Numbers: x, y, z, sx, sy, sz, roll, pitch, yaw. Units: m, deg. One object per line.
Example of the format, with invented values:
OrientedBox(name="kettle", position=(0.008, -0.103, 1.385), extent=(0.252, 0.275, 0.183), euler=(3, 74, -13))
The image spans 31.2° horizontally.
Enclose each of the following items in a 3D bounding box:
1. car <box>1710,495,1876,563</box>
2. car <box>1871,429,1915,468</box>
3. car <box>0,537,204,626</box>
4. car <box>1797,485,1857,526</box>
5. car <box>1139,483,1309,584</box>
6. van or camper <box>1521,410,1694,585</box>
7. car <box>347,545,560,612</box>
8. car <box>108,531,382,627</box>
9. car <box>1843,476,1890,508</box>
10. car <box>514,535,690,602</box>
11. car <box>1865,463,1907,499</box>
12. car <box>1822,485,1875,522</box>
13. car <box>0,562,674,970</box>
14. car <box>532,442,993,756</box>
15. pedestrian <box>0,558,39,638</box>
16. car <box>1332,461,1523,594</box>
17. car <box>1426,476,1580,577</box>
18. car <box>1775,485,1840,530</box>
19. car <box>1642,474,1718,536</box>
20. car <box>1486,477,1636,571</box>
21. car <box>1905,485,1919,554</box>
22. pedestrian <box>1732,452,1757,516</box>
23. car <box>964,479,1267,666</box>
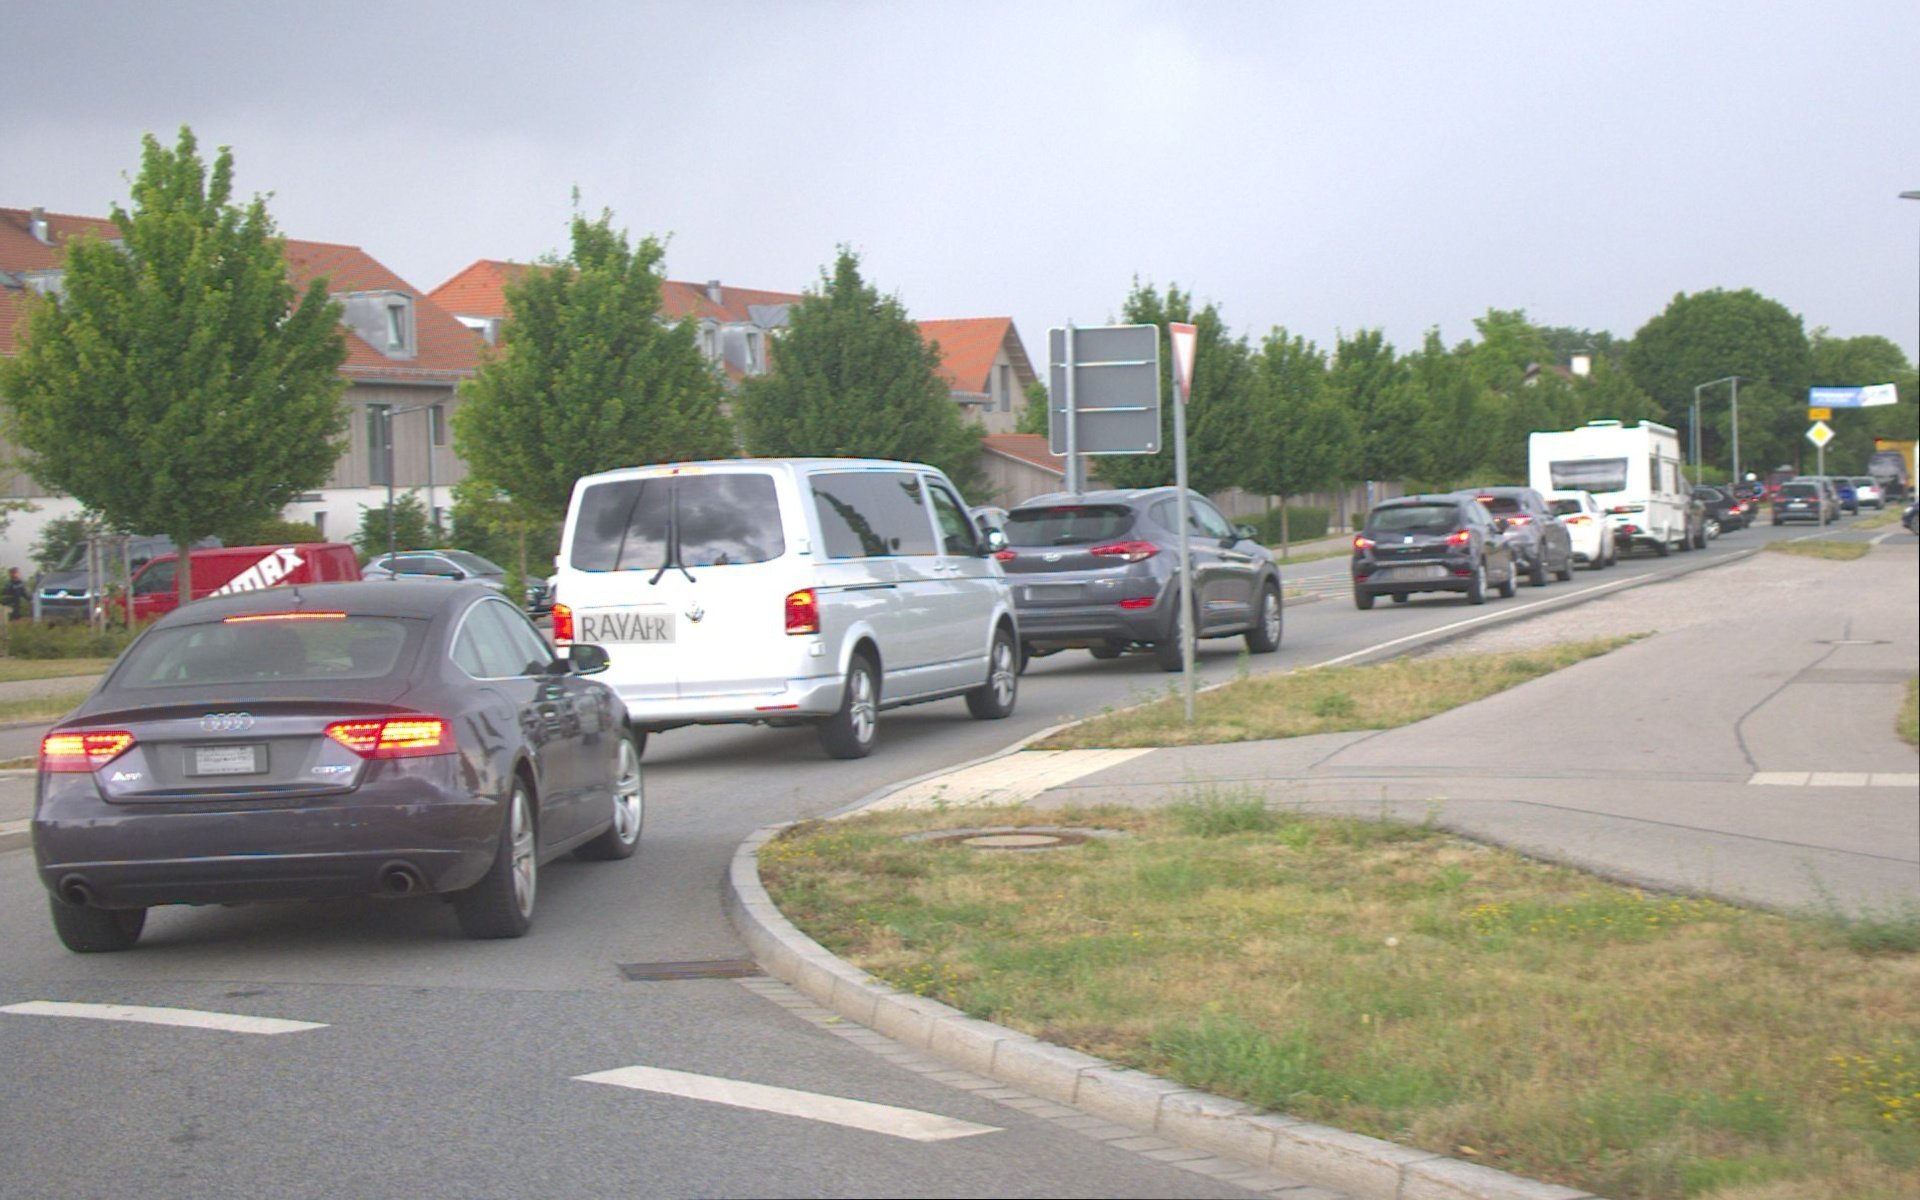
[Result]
OrientedBox(name="car", position=(21.472, -1.835, 88.597), extent=(3.990, 1.612, 1.998), euler=(2, 2, 18))
OrientedBox(name="car", position=(54.986, -8.912, 202.616), extent=(1.996, 2.204, 3.996), euler=(0, 2, 22))
OrientedBox(name="car", position=(-18.117, -0.407, 72.566), extent=(1.996, 1.766, 4.460), euler=(-1, 1, 23))
OrientedBox(name="car", position=(30.867, -3.380, 122.353), extent=(1.846, 1.431, 3.997), euler=(0, 2, 17))
OrientedBox(name="car", position=(4.028, -1.012, 51.910), extent=(1.778, 1.429, 3.799), euler=(-1, 1, 16))
OrientedBox(name="van or camper", position=(13.084, -2.015, 69.065), extent=(2.627, 3.312, 6.816), euler=(0, 1, 17))
OrientedBox(name="car", position=(-10.478, -0.450, 71.199), extent=(3.917, 1.310, 1.841), euler=(-1, 1, 16))
OrientedBox(name="car", position=(-13.112, -0.380, 63.083), extent=(4.535, 1.674, 1.998), euler=(-1, 1, 21))
OrientedBox(name="car", position=(40.737, -4.841, 154.484), extent=(1.846, 1.431, 3.997), euler=(0, 2, 17))
OrientedBox(name="car", position=(-8.400, -0.745, 80.673), extent=(3.732, 1.477, 1.685), euler=(0, 2, 15))
OrientedBox(name="car", position=(47.437, -6.084, 176.003), extent=(1.995, 1.831, 3.997), euler=(0, 2, 16))
OrientedBox(name="car", position=(35.084, -3.825, 135.745), extent=(1.846, 1.431, 3.997), euler=(0, 2, 17))
OrientedBox(name="car", position=(-2.433, 0.576, 14.353), extent=(1.784, 1.387, 4.132), euler=(-1, 1, 5))
OrientedBox(name="car", position=(-1.221, -0.045, 23.223), extent=(1.868, 1.927, 3.997), euler=(-1, 1, 16))
OrientedBox(name="pedestrian", position=(-18.689, -0.046, 68.034), extent=(0.658, 1.553, 0.583), euler=(0, 2, 22))
OrientedBox(name="car", position=(6.155, -0.952, 44.925), extent=(1.778, 1.612, 3.997), euler=(-1, 1, 18))
OrientedBox(name="car", position=(8.255, -1.120, 52.046), extent=(1.778, 1.429, 3.799), euler=(-1, 1, 16))
OrientedBox(name="car", position=(27.739, -3.038, 112.485), extent=(1.846, 1.431, 3.997), euler=(0, 2, 17))
OrientedBox(name="car", position=(23.807, -3.132, 113.612), extent=(1.995, 2.006, 3.996), euler=(0, 2, 19))
OrientedBox(name="car", position=(10.669, -1.340, 60.841), extent=(1.995, 1.590, 3.996), euler=(0, 1, 19))
OrientedBox(name="car", position=(26.749, -2.128, 89.167), extent=(3.996, 1.787, 1.615), euler=(0, 1, 39))
OrientedBox(name="pedestrian", position=(24.570, -3.633, 107.617), extent=(0.579, 2.006, 0.680), euler=(2, 2, 24))
OrientedBox(name="car", position=(1.520, -0.287, 31.933), extent=(1.778, 1.612, 3.997), euler=(-1, 1, 18))
